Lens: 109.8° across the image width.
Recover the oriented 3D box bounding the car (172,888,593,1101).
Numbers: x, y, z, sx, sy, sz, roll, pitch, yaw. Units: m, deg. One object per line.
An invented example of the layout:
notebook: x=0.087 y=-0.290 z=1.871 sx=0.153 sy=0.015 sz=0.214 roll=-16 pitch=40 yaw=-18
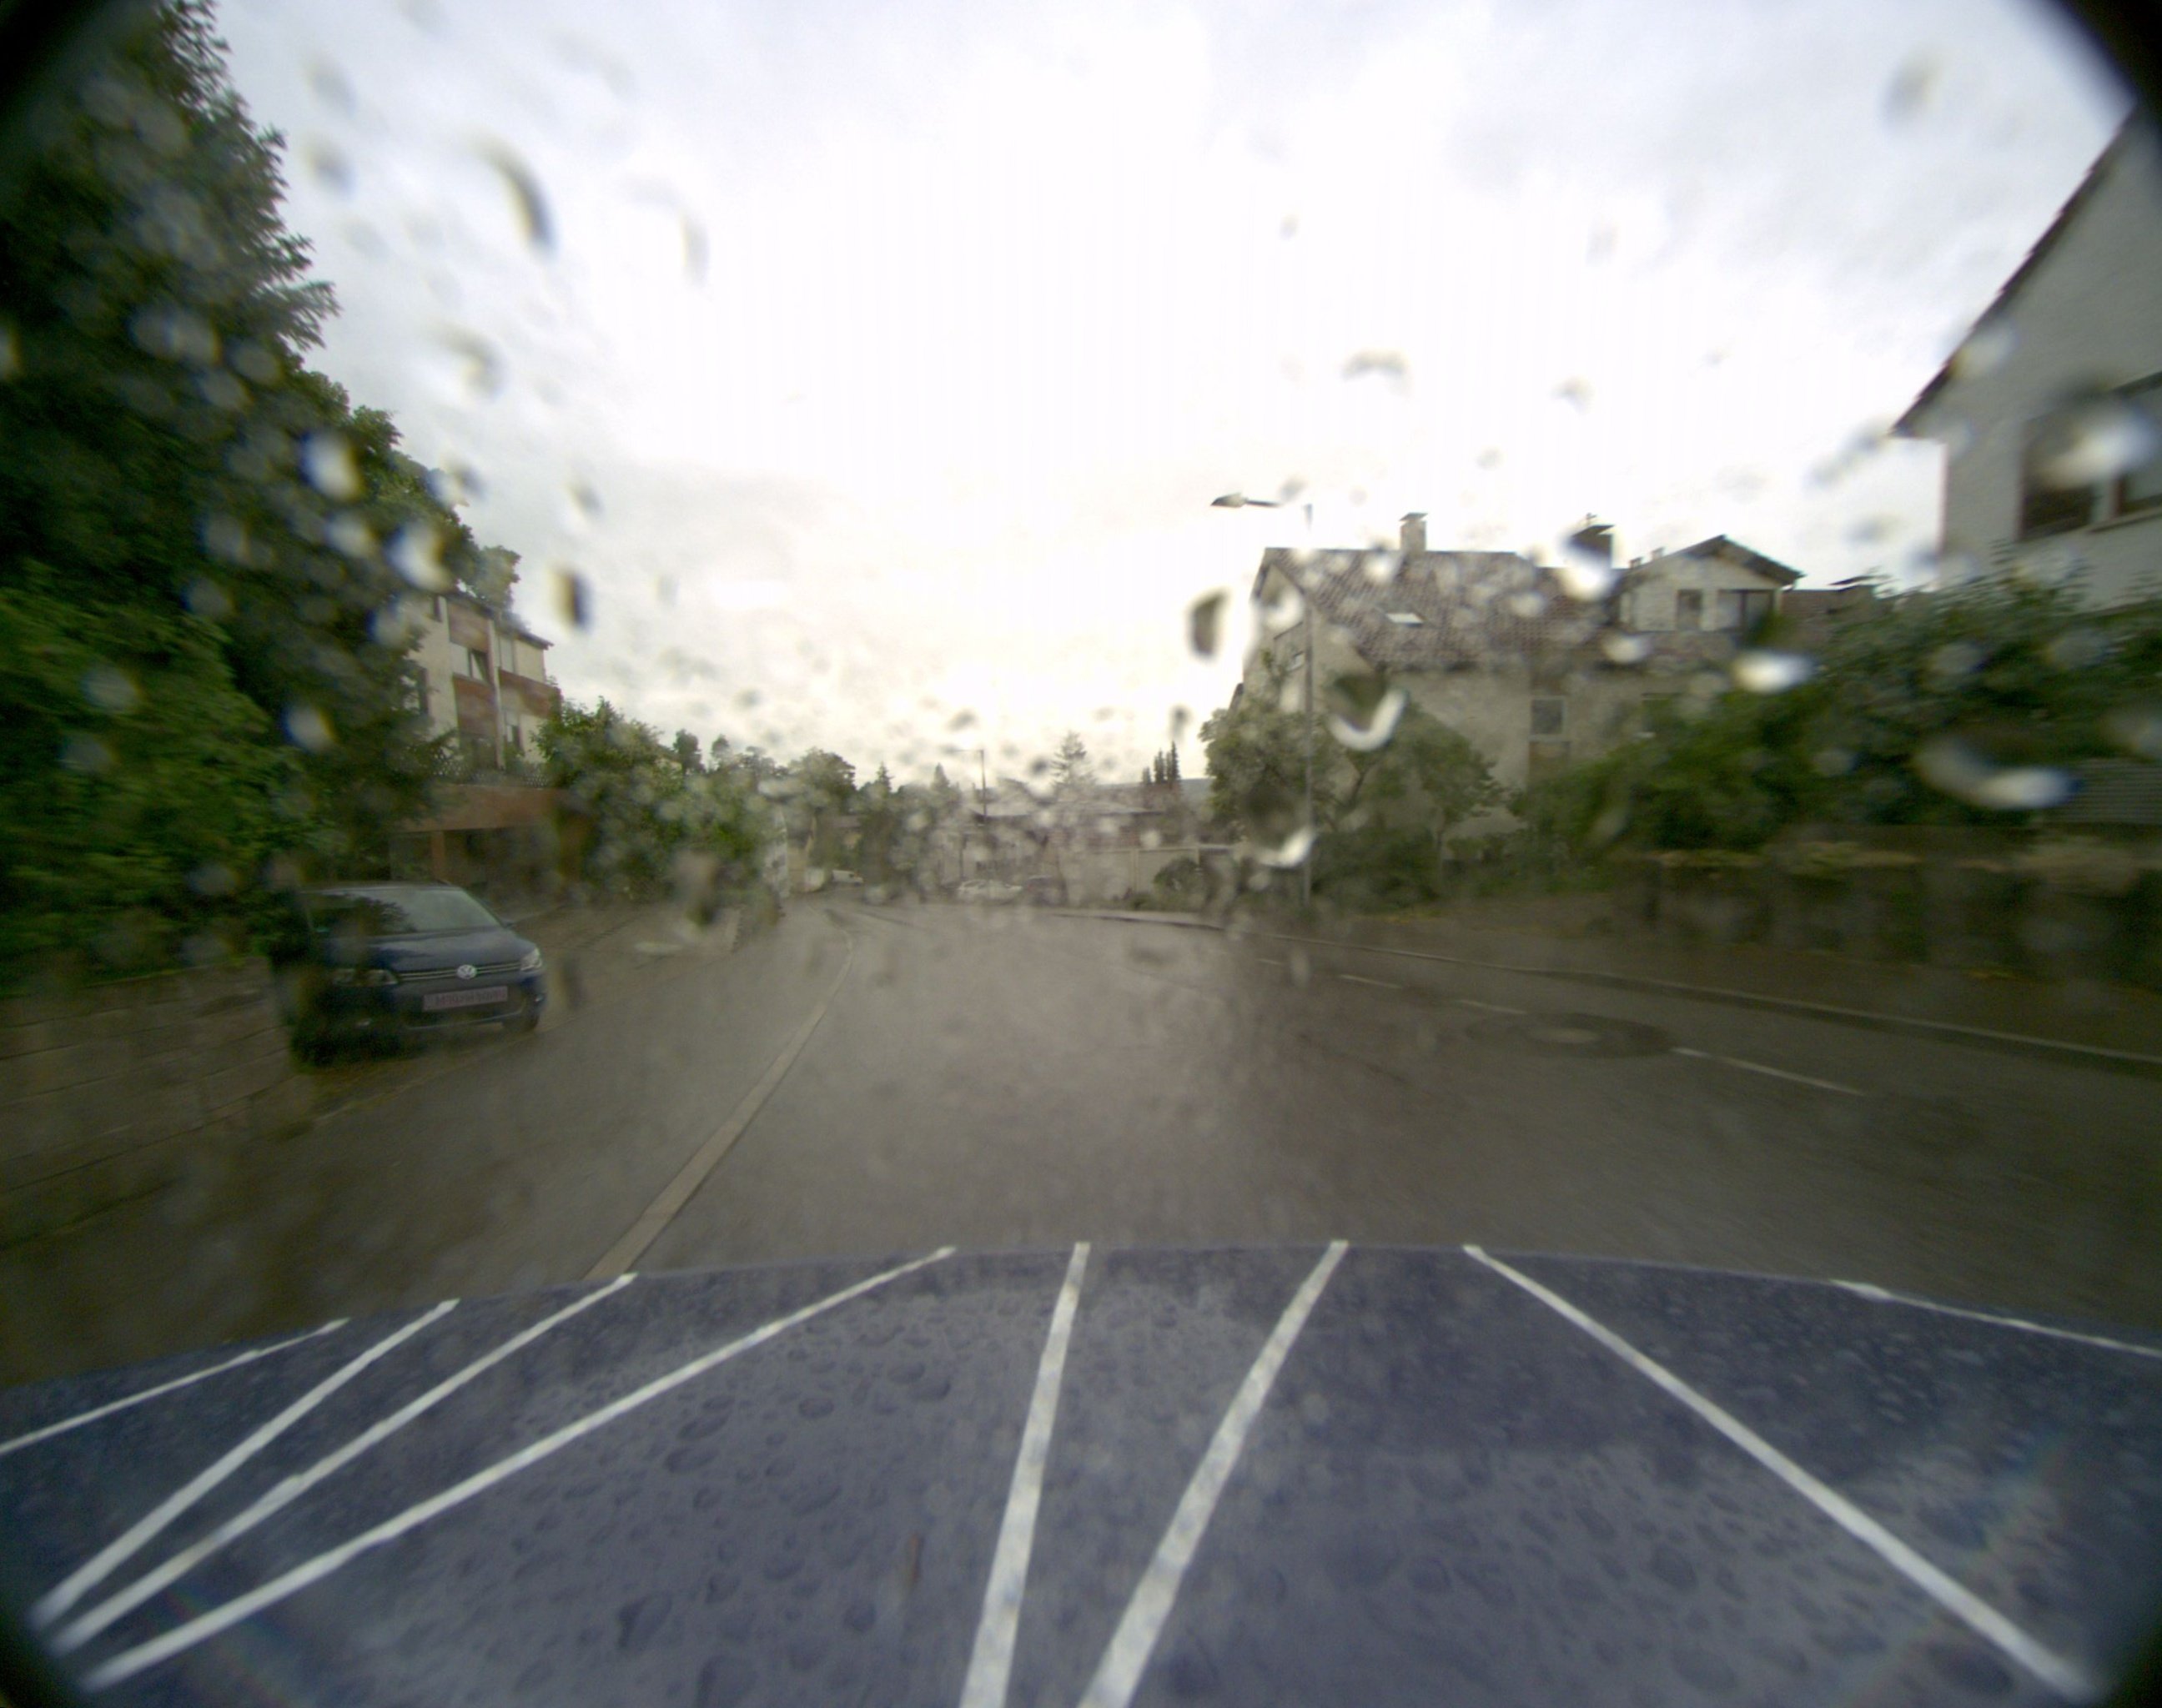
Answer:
car: x=-7.092 y=1.160 z=7.640 sx=4.328 sy=1.596 sz=1.861 roll=-1 pitch=-4 yaw=30

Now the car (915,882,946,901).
car: x=-12.646 y=3.121 z=63.582 sx=1.902 sy=1.432 sz=4.440 roll=-1 pitch=-2 yaw=-19

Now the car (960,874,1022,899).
car: x=-6.178 y=2.254 z=52.484 sx=3.998 sy=1.496 sz=1.901 roll=-3 pitch=-1 yaw=-2

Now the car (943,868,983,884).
car: x=-12.757 y=2.366 z=82.060 sx=4.003 sy=1.499 sz=1.800 roll=-2 pitch=2 yaw=-20

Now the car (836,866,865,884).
car: x=-37.423 y=3.447 z=123.403 sx=4.307 sy=2.737 sz=1.995 roll=-1 pitch=3 yaw=-28

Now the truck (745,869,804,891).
truck: x=-41.246 y=3.449 z=102.303 sx=6.978 sy=2.686 sz=2.139 roll=3 pitch=-1 yaw=-6

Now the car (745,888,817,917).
car: x=-21.798 y=3.471 z=55.256 sx=4.727 sy=1.809 sz=1.997 roll=-2 pitch=-1 yaw=-21

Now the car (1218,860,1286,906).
car: x=8.440 y=1.379 z=37.908 sx=1.974 sy=1.990 sz=4.105 roll=0 pitch=2 yaw=-8

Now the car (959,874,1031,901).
car: x=-5.607 y=2.169 z=49.297 sx=4.511 sy=1.496 sz=1.899 roll=-3 pitch=-1 yaw=-9

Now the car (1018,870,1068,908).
car: x=-1.941 y=1.676 z=37.499 sx=1.980 sy=1.649 sz=4.960 roll=-3 pitch=-1 yaw=-8
